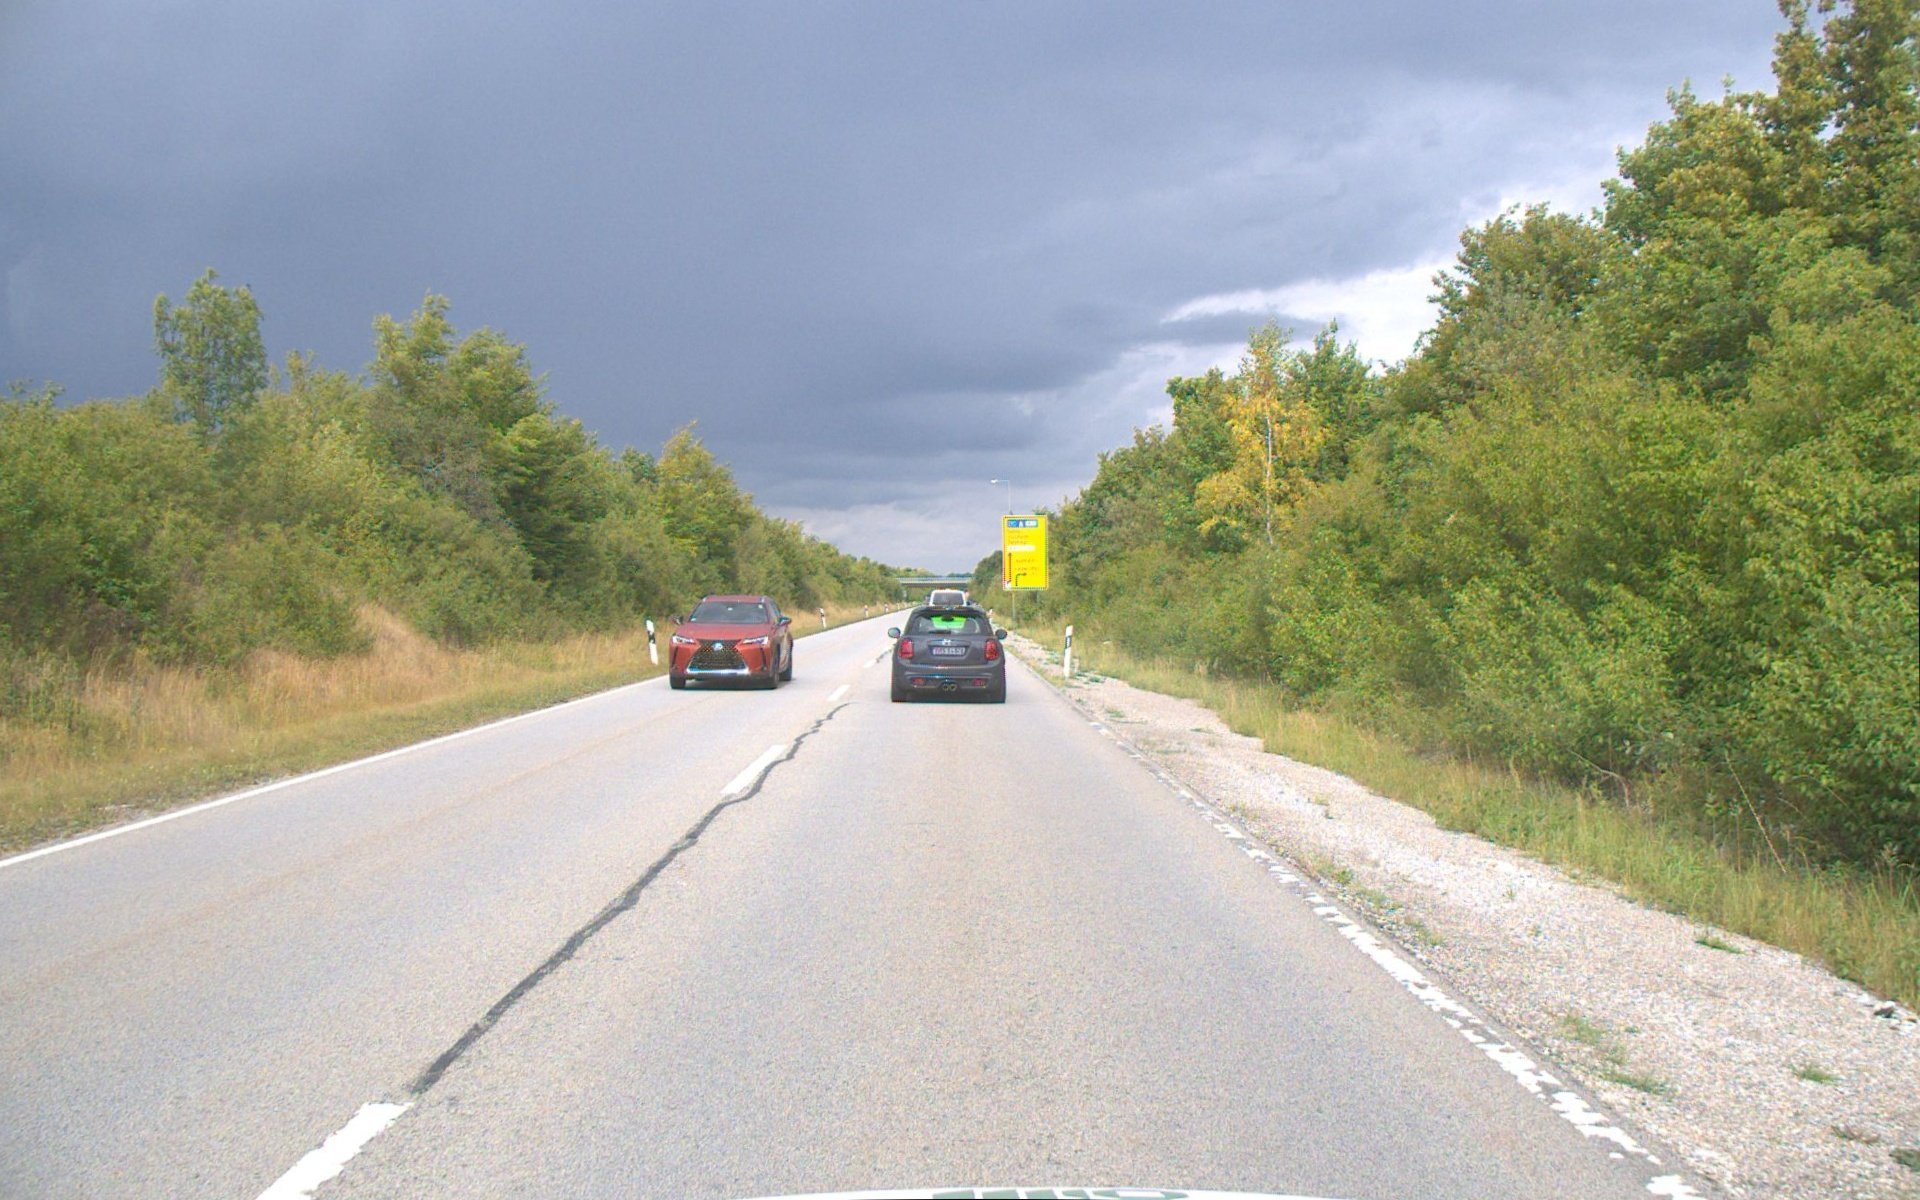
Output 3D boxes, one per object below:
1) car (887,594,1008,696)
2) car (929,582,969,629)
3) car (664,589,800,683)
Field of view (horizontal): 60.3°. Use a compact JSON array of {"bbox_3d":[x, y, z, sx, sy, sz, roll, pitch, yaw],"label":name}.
[{"bbox_3d":[-0.204,0.650,25.813,1.721,1.452,3.999,1,0,-1],"label":"car"},{"bbox_3d":[-0.517,0.241,76.259,1.782,2.090,3.999,1,0,-1],"label":"car"},{"bbox_3d":[-3.856,0.570,28.634,1.791,1.490,4.410,0,0,-1],"label":"car"}]
